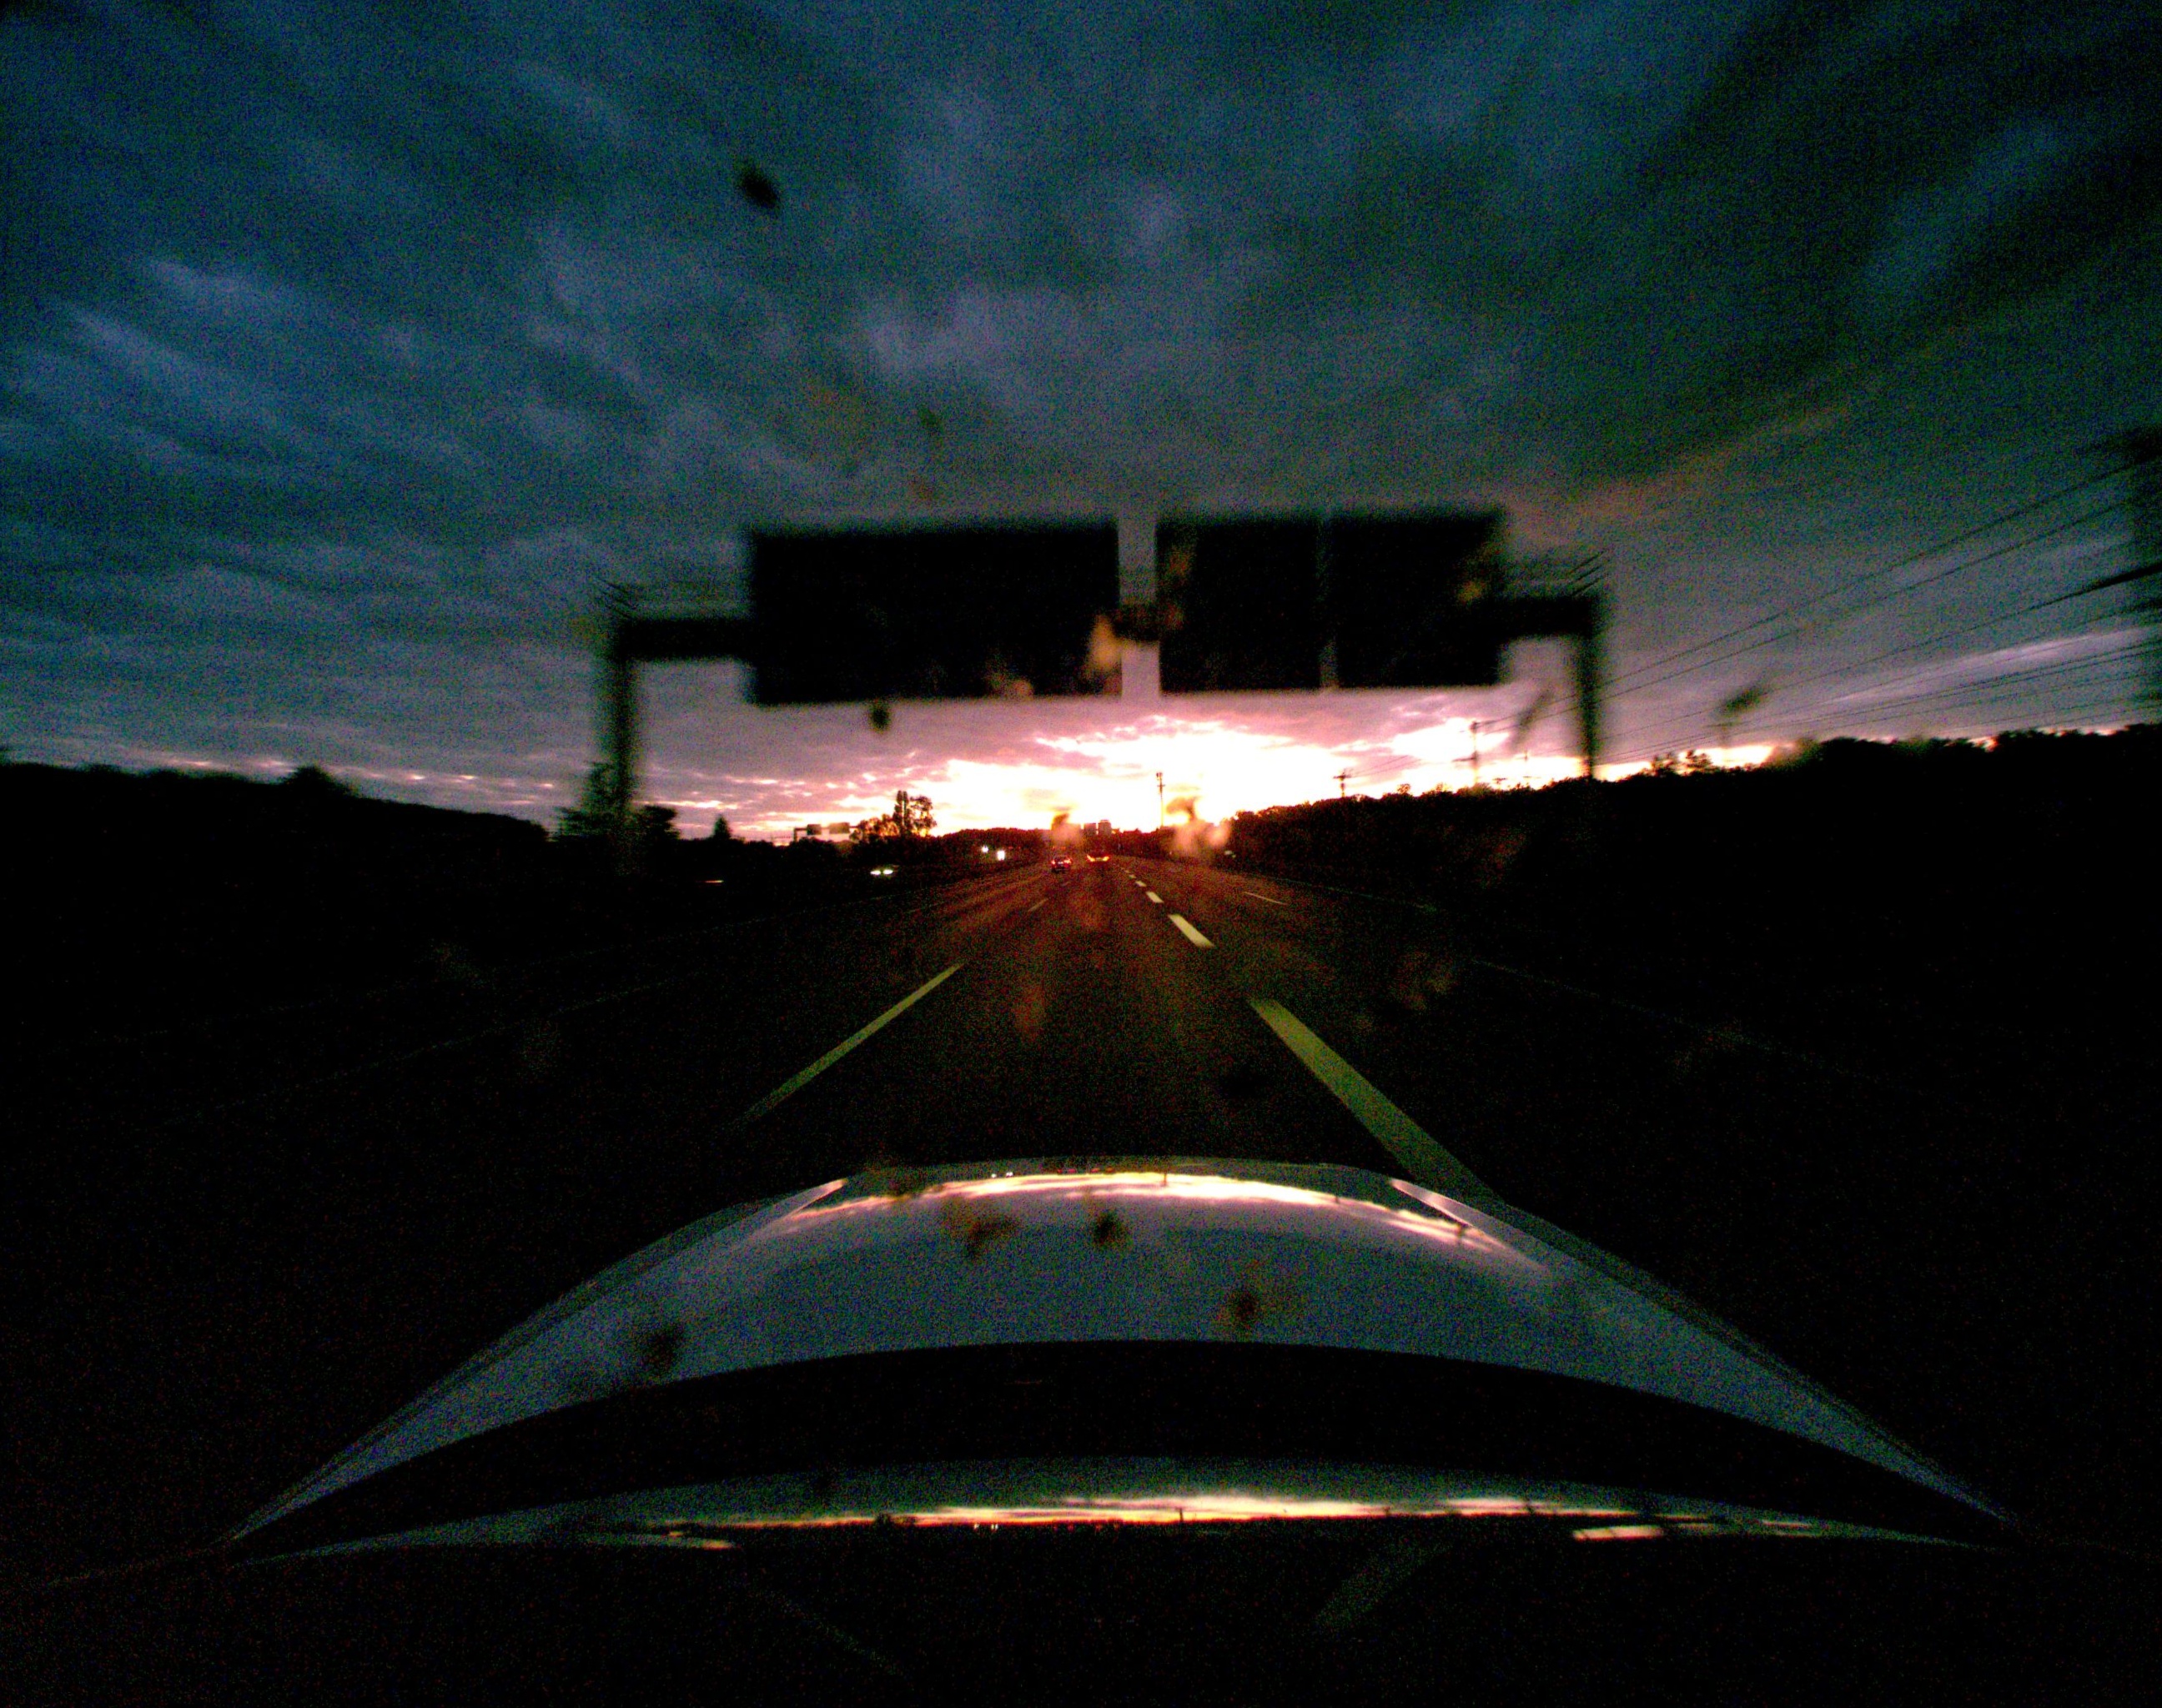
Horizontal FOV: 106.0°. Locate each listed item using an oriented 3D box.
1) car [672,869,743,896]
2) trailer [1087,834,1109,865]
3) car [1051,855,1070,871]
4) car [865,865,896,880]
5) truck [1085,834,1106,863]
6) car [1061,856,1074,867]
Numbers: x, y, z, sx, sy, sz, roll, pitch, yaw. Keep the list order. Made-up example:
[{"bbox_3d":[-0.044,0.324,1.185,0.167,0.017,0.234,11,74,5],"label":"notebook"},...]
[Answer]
[{"bbox_3d":[-20.192,1.519,44.241,1.683,1.401,4.430,0,-1,2],"label":"car"},{"bbox_3d":[2.347,-0.704,115.769,2.714,4.070,8.829,-3,1,-1],"label":"trailer"},{"bbox_3d":[-2.006,0.853,79.156,1.685,1.401,3.406,-3,0,-2],"label":"car"},{"bbox_3d":[-18.810,1.754,76.656,1.683,1.401,4.430,0,-1,2],"label":"car"},{"bbox_3d":[2.207,-0.908,125.435,2.682,4.070,10.516,-3,1,-1],"label":"truck"},{"bbox_3d":[-1.913,1.051,115.358,1.684,1.401,3.408,-4,-1,0],"label":"car"}]
